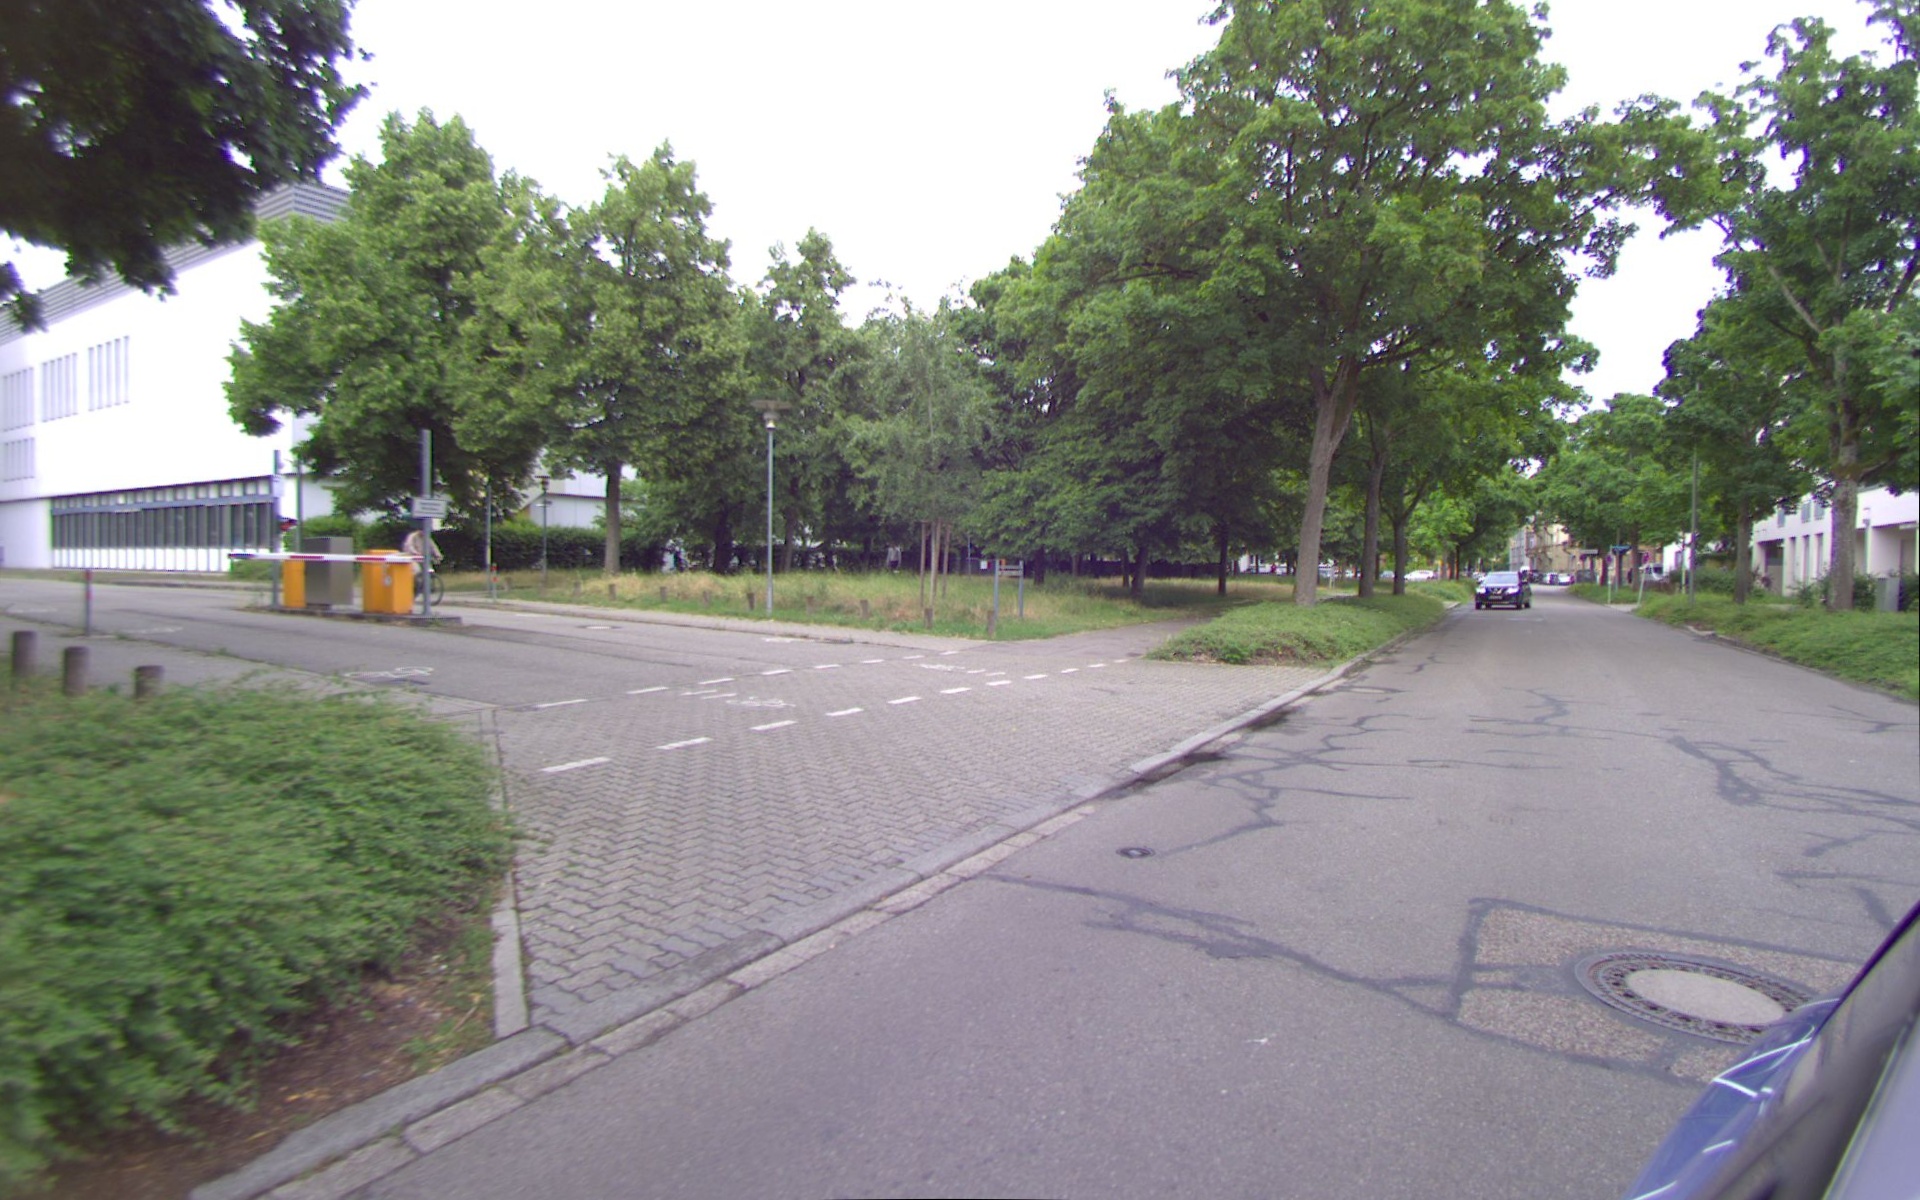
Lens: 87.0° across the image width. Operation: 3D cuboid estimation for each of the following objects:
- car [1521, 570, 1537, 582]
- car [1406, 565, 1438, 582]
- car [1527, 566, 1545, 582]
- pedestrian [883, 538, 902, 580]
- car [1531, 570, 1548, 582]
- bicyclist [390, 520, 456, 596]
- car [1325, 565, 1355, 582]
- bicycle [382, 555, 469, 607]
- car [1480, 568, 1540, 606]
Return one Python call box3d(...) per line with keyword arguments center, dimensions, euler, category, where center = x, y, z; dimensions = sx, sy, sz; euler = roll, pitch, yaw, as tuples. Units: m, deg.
box3d(center=(88.404, -3.735, 157.248), dimensions=(1.765, 1.882, 3.634), euler=(2, 2, 23), category="car")
box3d(center=(53.980, -3.100, 118.349), dimensions=(3.274, 1.948, 1.798), euler=(0, 1, 22), category="car")
box3d(center=(86.197, -3.899, 151.513), dimensions=(1.764, 2.443, 3.636), euler=(2, 2, 22), category="car")
box3d(center=(-2.976, -1.807, 44.693), dimensions=(0.542, 1.820, 0.564), euler=(3, 3, 42), category="pedestrian")
box3d(center=(84.469, -3.499, 147.522), dimensions=(1.765, 1.786, 3.634), euler=(2, 2, 23), category="car")
box3d(center=(-12.140, -0.951, 22.895), dimensions=(0.917, 1.664, 1.009), euler=(2, 2, 33), category="bicyclist")
box3d(center=(45.828, -3.189, 122.085), dimensions=(3.274, 1.948, 1.798), euler=(0, 1, 22), category="car")
box3d(center=(-12.113, -0.444, 22.922), dimensions=(2.127, 1.088, 0.859), euler=(3, 3, 34), category="bicycle")
box3d(center=(24.095, -0.603, 44.243), dimensions=(1.985, 1.504, 4.489), euler=(3, 3, 32), category="car")
